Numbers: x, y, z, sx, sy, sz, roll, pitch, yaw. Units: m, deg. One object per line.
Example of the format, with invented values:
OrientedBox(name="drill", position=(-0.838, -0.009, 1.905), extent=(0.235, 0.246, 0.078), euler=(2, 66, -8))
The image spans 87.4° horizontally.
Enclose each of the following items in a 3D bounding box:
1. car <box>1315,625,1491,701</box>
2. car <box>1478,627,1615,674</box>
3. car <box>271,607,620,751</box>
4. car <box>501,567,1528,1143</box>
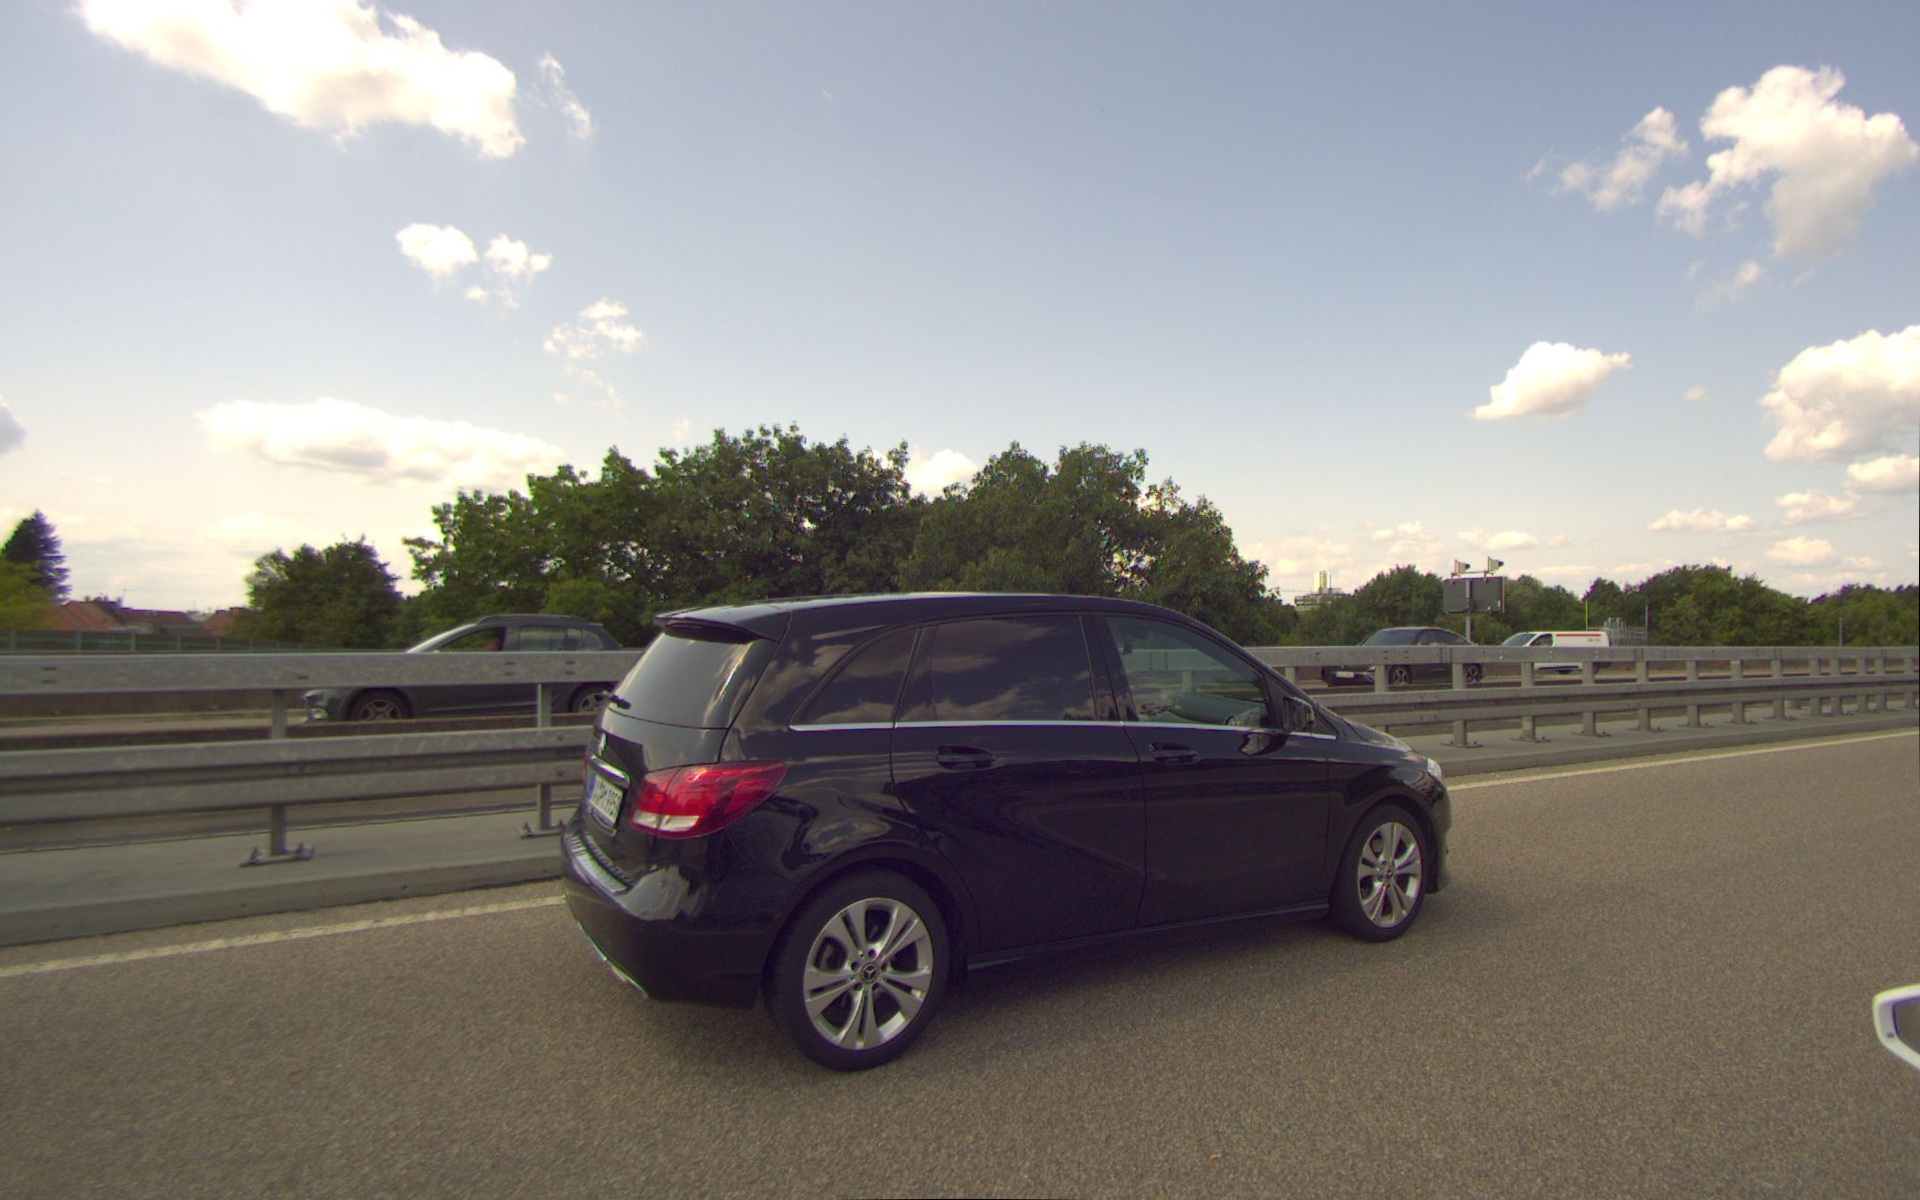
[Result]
OrientedBox(name="car", position=(11.056, 1.515, 24.981), extent=(4.465, 1.662, 1.879), euler=(2, 0, -33))
OrientedBox(name="car", position=(26.020, 2.225, 44.638), extent=(5.073, 1.923, 1.997), euler=(2, 0, -8))
OrientedBox(name="car", position=(-6.858, 0.981, 13.624), extent=(3.955, 1.660, 1.812), euler=(2, 0, -32))
OrientedBox(name="car", position=(0.477, 0.734, 4.617), extent=(4.540, 1.548, 1.703), euler=(2, 0, -31))
